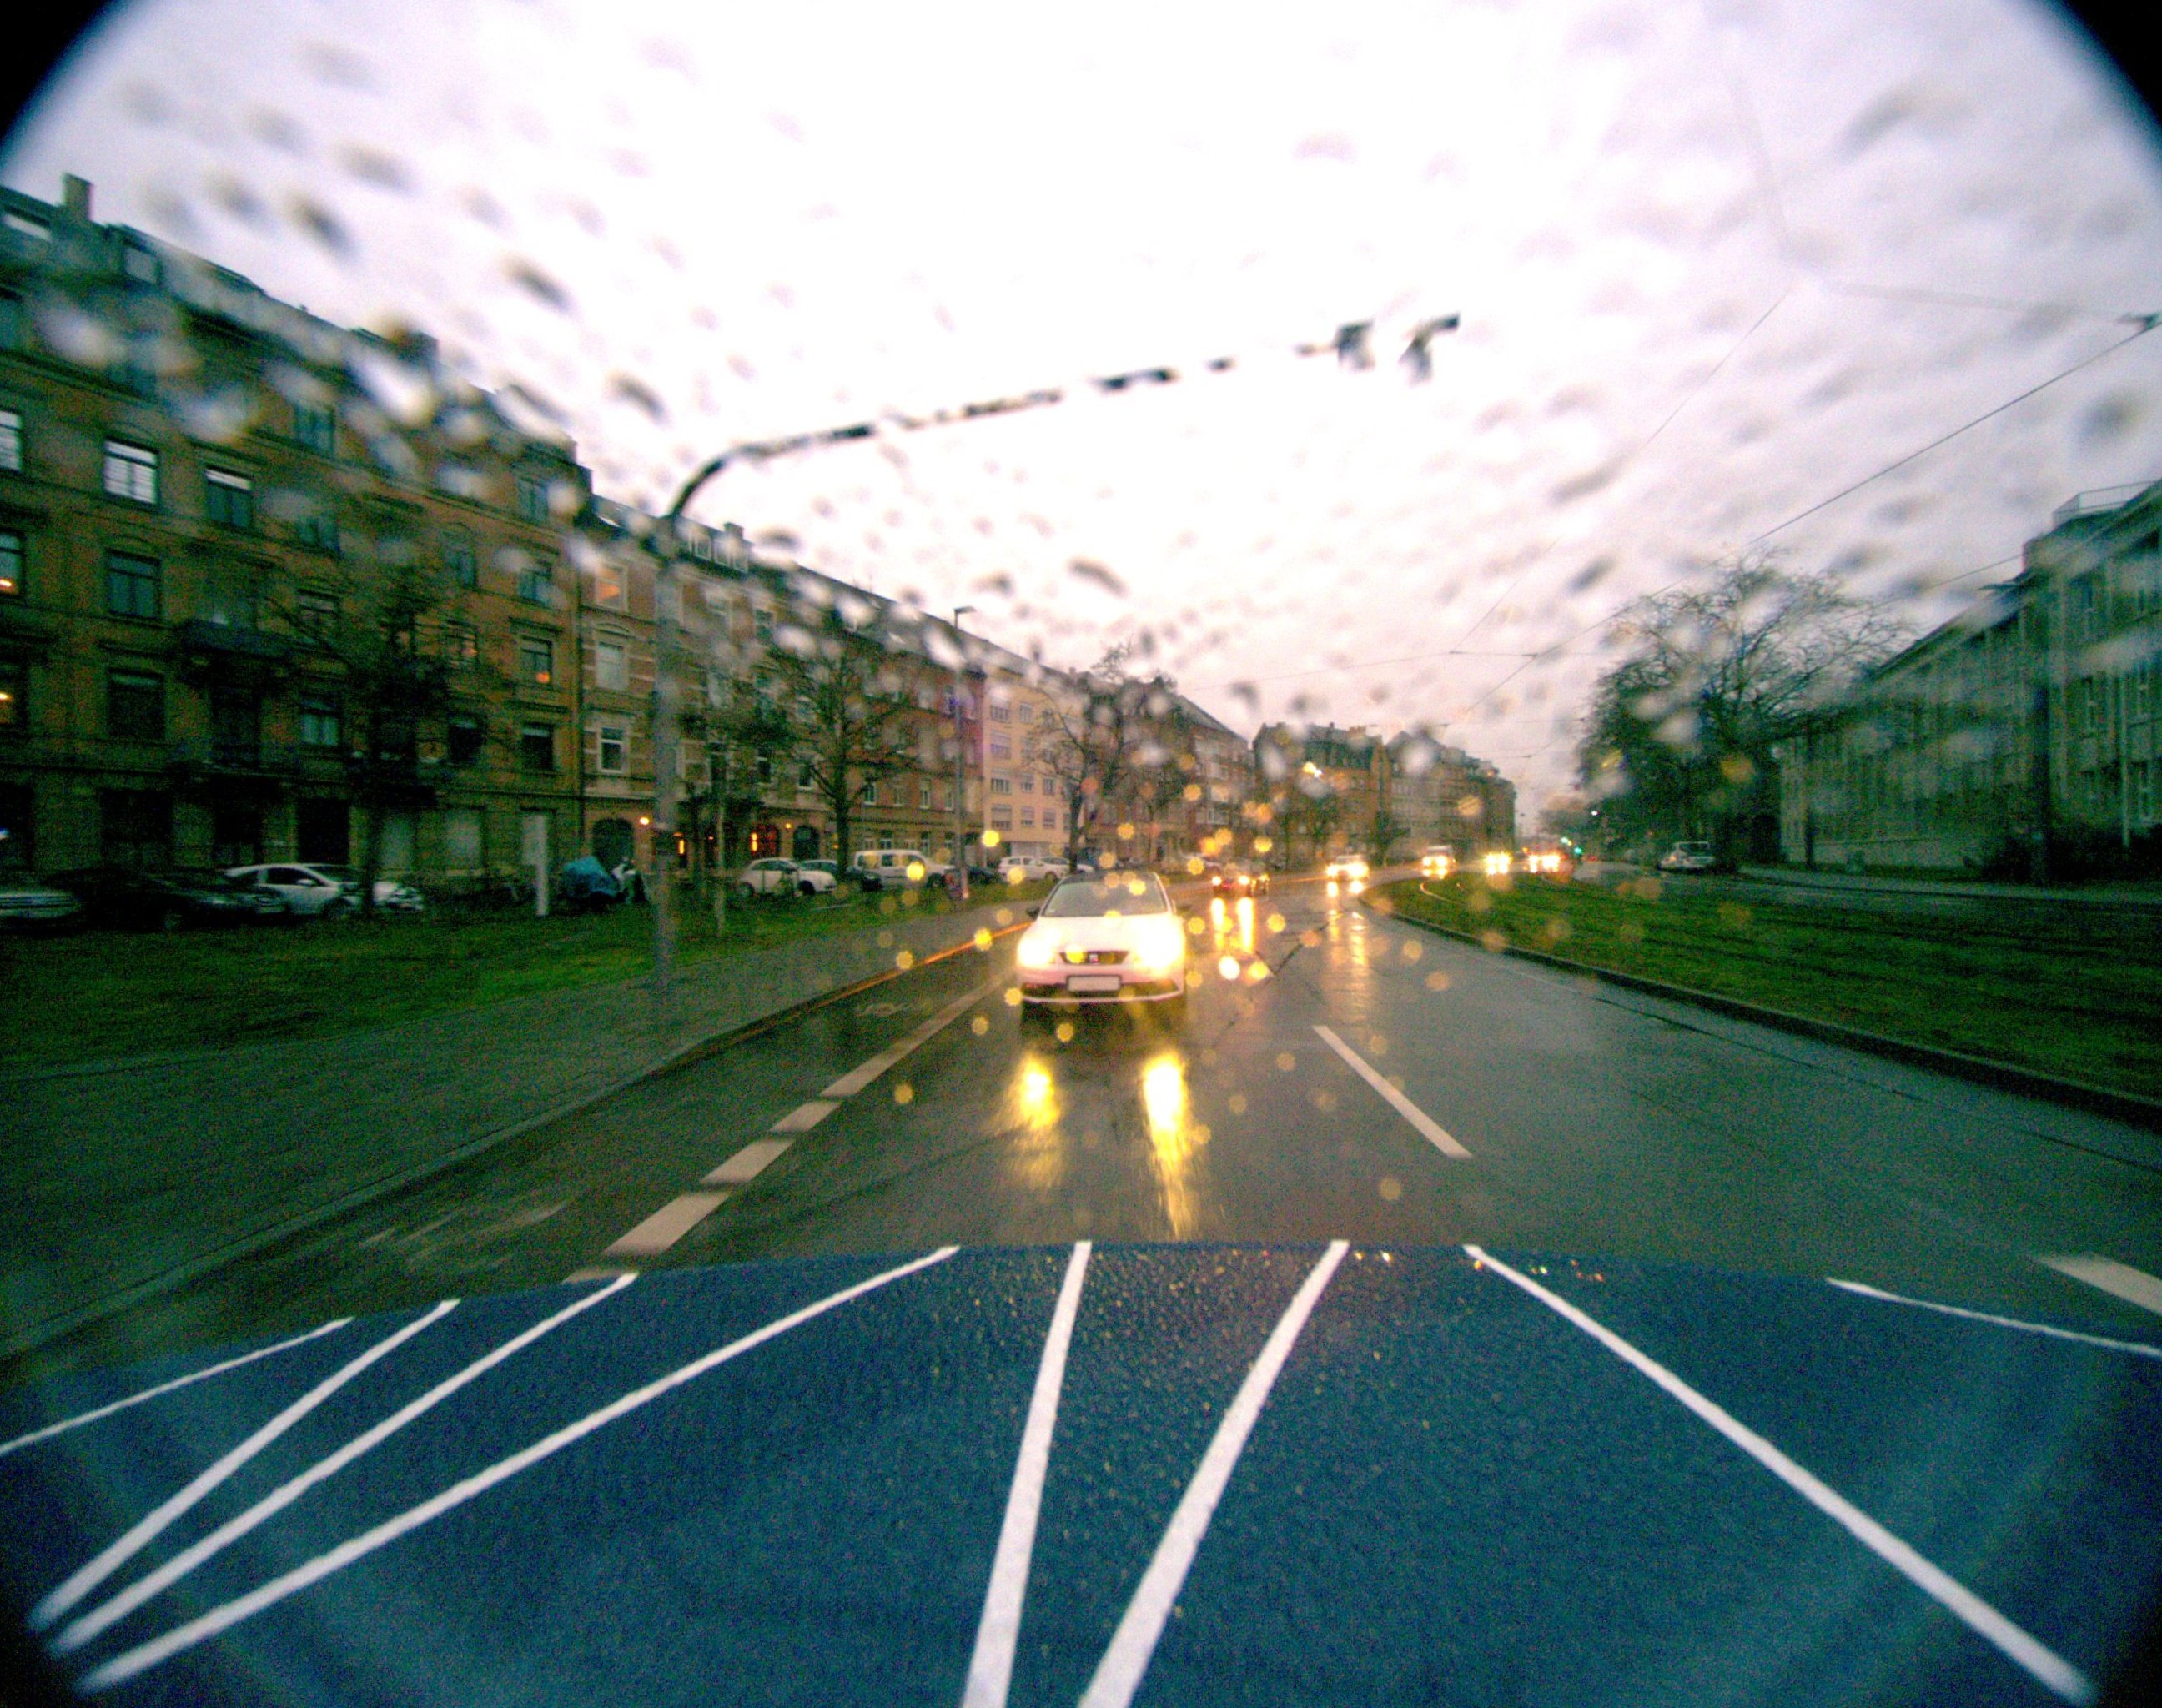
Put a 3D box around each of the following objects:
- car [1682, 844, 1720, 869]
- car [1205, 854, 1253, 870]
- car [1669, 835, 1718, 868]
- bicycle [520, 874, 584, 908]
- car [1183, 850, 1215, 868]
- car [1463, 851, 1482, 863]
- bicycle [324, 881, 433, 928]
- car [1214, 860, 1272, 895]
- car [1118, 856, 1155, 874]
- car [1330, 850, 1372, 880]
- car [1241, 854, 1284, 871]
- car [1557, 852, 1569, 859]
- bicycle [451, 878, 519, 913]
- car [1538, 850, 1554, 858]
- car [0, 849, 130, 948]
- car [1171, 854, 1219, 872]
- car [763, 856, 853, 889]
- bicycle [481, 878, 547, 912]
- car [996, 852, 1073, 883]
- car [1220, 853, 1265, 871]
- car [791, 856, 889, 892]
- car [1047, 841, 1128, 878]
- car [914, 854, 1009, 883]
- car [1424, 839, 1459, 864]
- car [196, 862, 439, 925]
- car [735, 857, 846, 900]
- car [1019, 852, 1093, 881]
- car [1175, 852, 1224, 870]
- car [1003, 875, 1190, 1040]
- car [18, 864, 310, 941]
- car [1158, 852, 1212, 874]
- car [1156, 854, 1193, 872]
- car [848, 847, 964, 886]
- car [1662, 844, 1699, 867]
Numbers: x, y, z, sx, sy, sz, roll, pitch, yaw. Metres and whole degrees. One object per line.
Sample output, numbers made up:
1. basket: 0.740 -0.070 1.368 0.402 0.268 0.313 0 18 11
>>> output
1. car: 37.906 0.163 46.485 1.557 1.420 2.960 -1 1 34
2. car: 12.262 0.687 63.147 3.762 1.271 1.602 -1 0 4
3. car: 40.456 -0.212 50.288 1.995 2.002 4.518 -3 0 33
4. bicycle: -15.983 1.106 22.945 2.165 0.960 0.627 0 1 27
5. car: 12.126 0.479 77.695 1.670 1.693 3.472 -3 0 38
6. car: 58.091 0.443 112.658 1.646 1.739 3.562 0 0 41
7. bicycle: -14.958 1.060 16.229 1.655 0.931 0.513 0 0 -36
8. car: 7.139 0.993 33.362 1.586 1.418 3.140 -1 0 30
9. car: 4.954 0.932 67.677 1.470 1.534 3.880 0 0 36
10. car: 16.725 0.654 46.940 1.671 1.650 4.155 -3 0 29
11. car: 16.623 0.777 69.754 3.761 1.346 1.603 -3 0 10
12. car: 121.869 0.303 192.104 1.948 1.804 4.008 -1 0 41
13. bicycle: -16.817 1.179 21.424 2.165 0.960 0.627 -2 -2 27
14. car: 84.473 -0.070 138.061 1.892 1.404 3.955 -1 0 40
15. car: -19.876 0.733 13.337 3.996 1.627 1.944 0 1 2
16. car: 9.279 0.740 61.765 3.761 1.323 1.603 -3 0 10
17. car: -13.830 0.930 38.713 1.733 1.492 4.058 -3 -1 31
18. bicycle: -16.499 1.189 22.082 2.165 0.960 0.627 -2 -2 27
19. car: -2.478 0.719 40.753 3.770 1.424 1.762 -3 0 7
20. car: 14.181 0.682 66.715 3.761 1.346 1.603 -3 0 10
21. car: -9.760 0.804 30.981 3.430 1.343 1.664 -2 0 1
22. car: 0.348 0.329 45.663 4.720 1.971 1.799 -2 -1 -3
23. car: -5.559 0.696 35.656 4.059 1.227 1.771 1 -1 4
24. car: 37.823 -0.274 79.702 2.125 2.366 5.649 -3 0 37
25. car: -17.678 0.894 17.748 3.856 1.329 1.698 -1 0 -2
26. car: -10.826 0.908 28.468 3.463 1.434 1.615 -2 0 5
27. car: -1.422 0.689 42.645 3.998 1.406 1.641 -3 0 -3
28. car: 9.320 0.565 59.595 3.761 1.325 1.603 -1 1 10
29. car: 0.352 1.043 9.047 1.714 1.404 3.681 -3 0 7
30. car: -18.454 0.949 15.440 3.743 1.346 1.677 -2 -1 -3
31. car: 7.787 0.659 57.072 3.870 1.397 1.695 -3 0 5
32. car: 8.968 0.874 72.877 1.690 1.534 4.008 -3 0 36
33. car: -7.619 0.515 33.346 4.659 1.583 1.777 1 1 2
34. car: 46.340 0.111 58.794 1.823 1.645 3.866 -3 0 33
